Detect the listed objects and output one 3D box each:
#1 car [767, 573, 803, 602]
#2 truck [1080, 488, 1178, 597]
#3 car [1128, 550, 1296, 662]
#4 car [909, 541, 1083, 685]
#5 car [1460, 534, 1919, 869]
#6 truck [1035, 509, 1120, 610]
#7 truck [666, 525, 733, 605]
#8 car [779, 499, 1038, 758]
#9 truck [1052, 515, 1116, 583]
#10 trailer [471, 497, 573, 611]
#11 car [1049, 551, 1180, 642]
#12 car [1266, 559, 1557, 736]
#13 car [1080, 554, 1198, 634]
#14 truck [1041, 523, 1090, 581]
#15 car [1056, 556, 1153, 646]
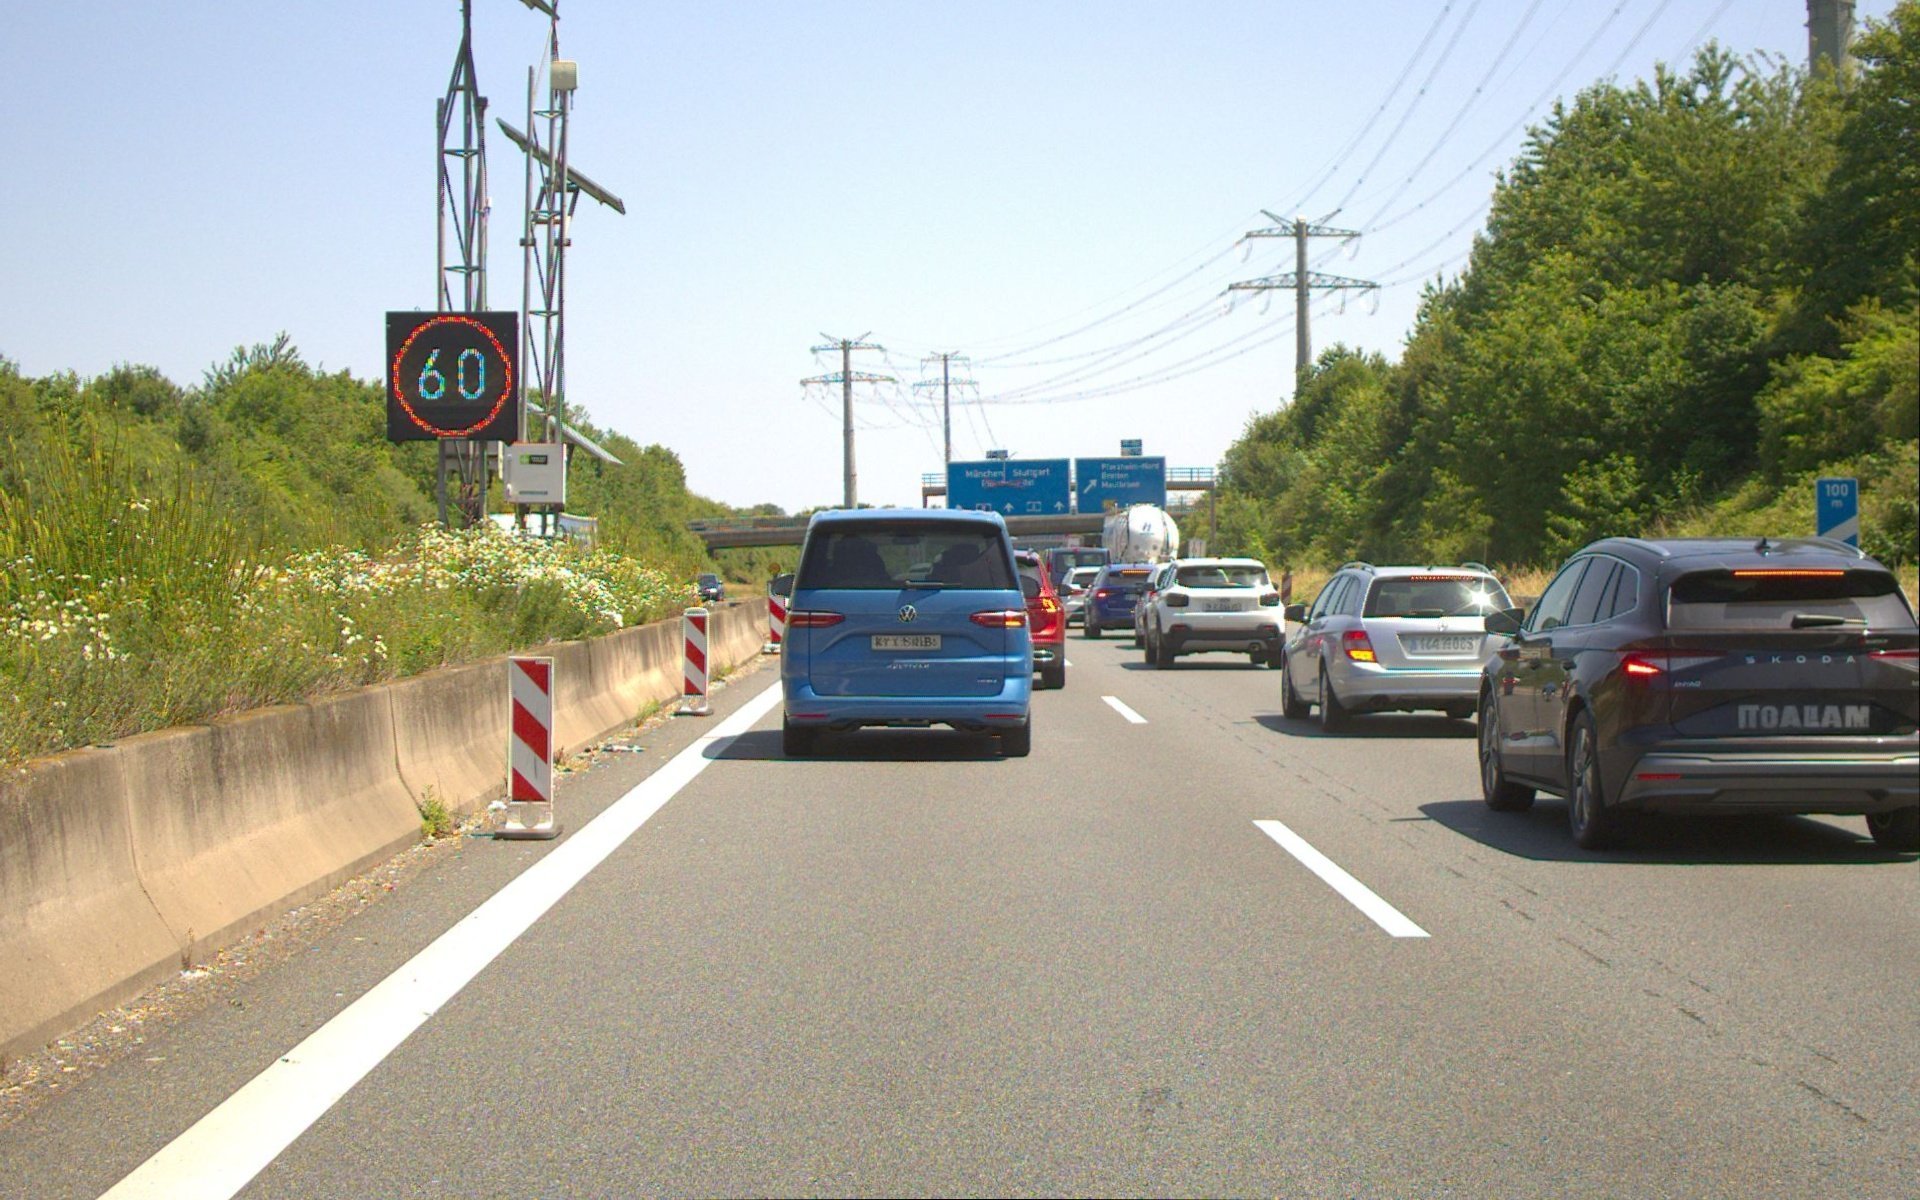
[{"bbox_3d":[-8.851,-0.651,174.370,1.583,1.438,4.000,1,1,0],"label":"car"},{"bbox_3d":[6.679,-2.282,137.956,2.644,4.058,16.442,1,1,-2],"label":"truck"},{"bbox_3d":[3.516,0.056,48.642,1.908,1.503,3.922,1,1,-2],"label":"car"},{"bbox_3d":[0.372,0.116,41.023,1.908,1.625,4.384,0,1,-2],"label":"car"},{"bbox_3d":[4.023,0.451,18.772,1.828,1.609,4.431,0,1,-1],"label":"car"},{"bbox_3d":[3.236,-1.133,95.942,1.993,2.714,5.680,1,1,-1],"label":"truck"},{"bbox_3d":[-13.323,-1.816,176.142,2.762,3.875,9.030,-2,1,-1],"label":"truck"},{"bbox_3d":[-0.475,0.182,27.392,1.871,1.873,4.384,1,1,-3],"label":"car"},{"bbox_3d":[6.707,-2.764,187.116,2.644,3.526,12.553,1,1,-2],"label":"truck"},{"bbox_3d":[-16.263,-1.716,127.862,2.961,4.043,5.434,-2,1,0],"label":"trailer"},{"bbox_3d":[2.675,-0.090,60.421,1.908,1.511,4.384,1,1,-2],"label":"car"},{"bbox_3d":[3.917,0.366,30.546,1.821,1.432,4.384,1,1,-2],"label":"car"},{"bbox_3d":[3.500,-0.138,68.069,1.908,1.511,4.384,1,1,-2],"label":"car"},{"bbox_3d":[8.034,-3.659,262.672,2.938,4.276,12.553,1,1,-2],"label":"truck"},{"bbox_3d":[3.335,0.003,79.851,1.993,2.007,4.000,1,1,-1],"label":"car"}]
